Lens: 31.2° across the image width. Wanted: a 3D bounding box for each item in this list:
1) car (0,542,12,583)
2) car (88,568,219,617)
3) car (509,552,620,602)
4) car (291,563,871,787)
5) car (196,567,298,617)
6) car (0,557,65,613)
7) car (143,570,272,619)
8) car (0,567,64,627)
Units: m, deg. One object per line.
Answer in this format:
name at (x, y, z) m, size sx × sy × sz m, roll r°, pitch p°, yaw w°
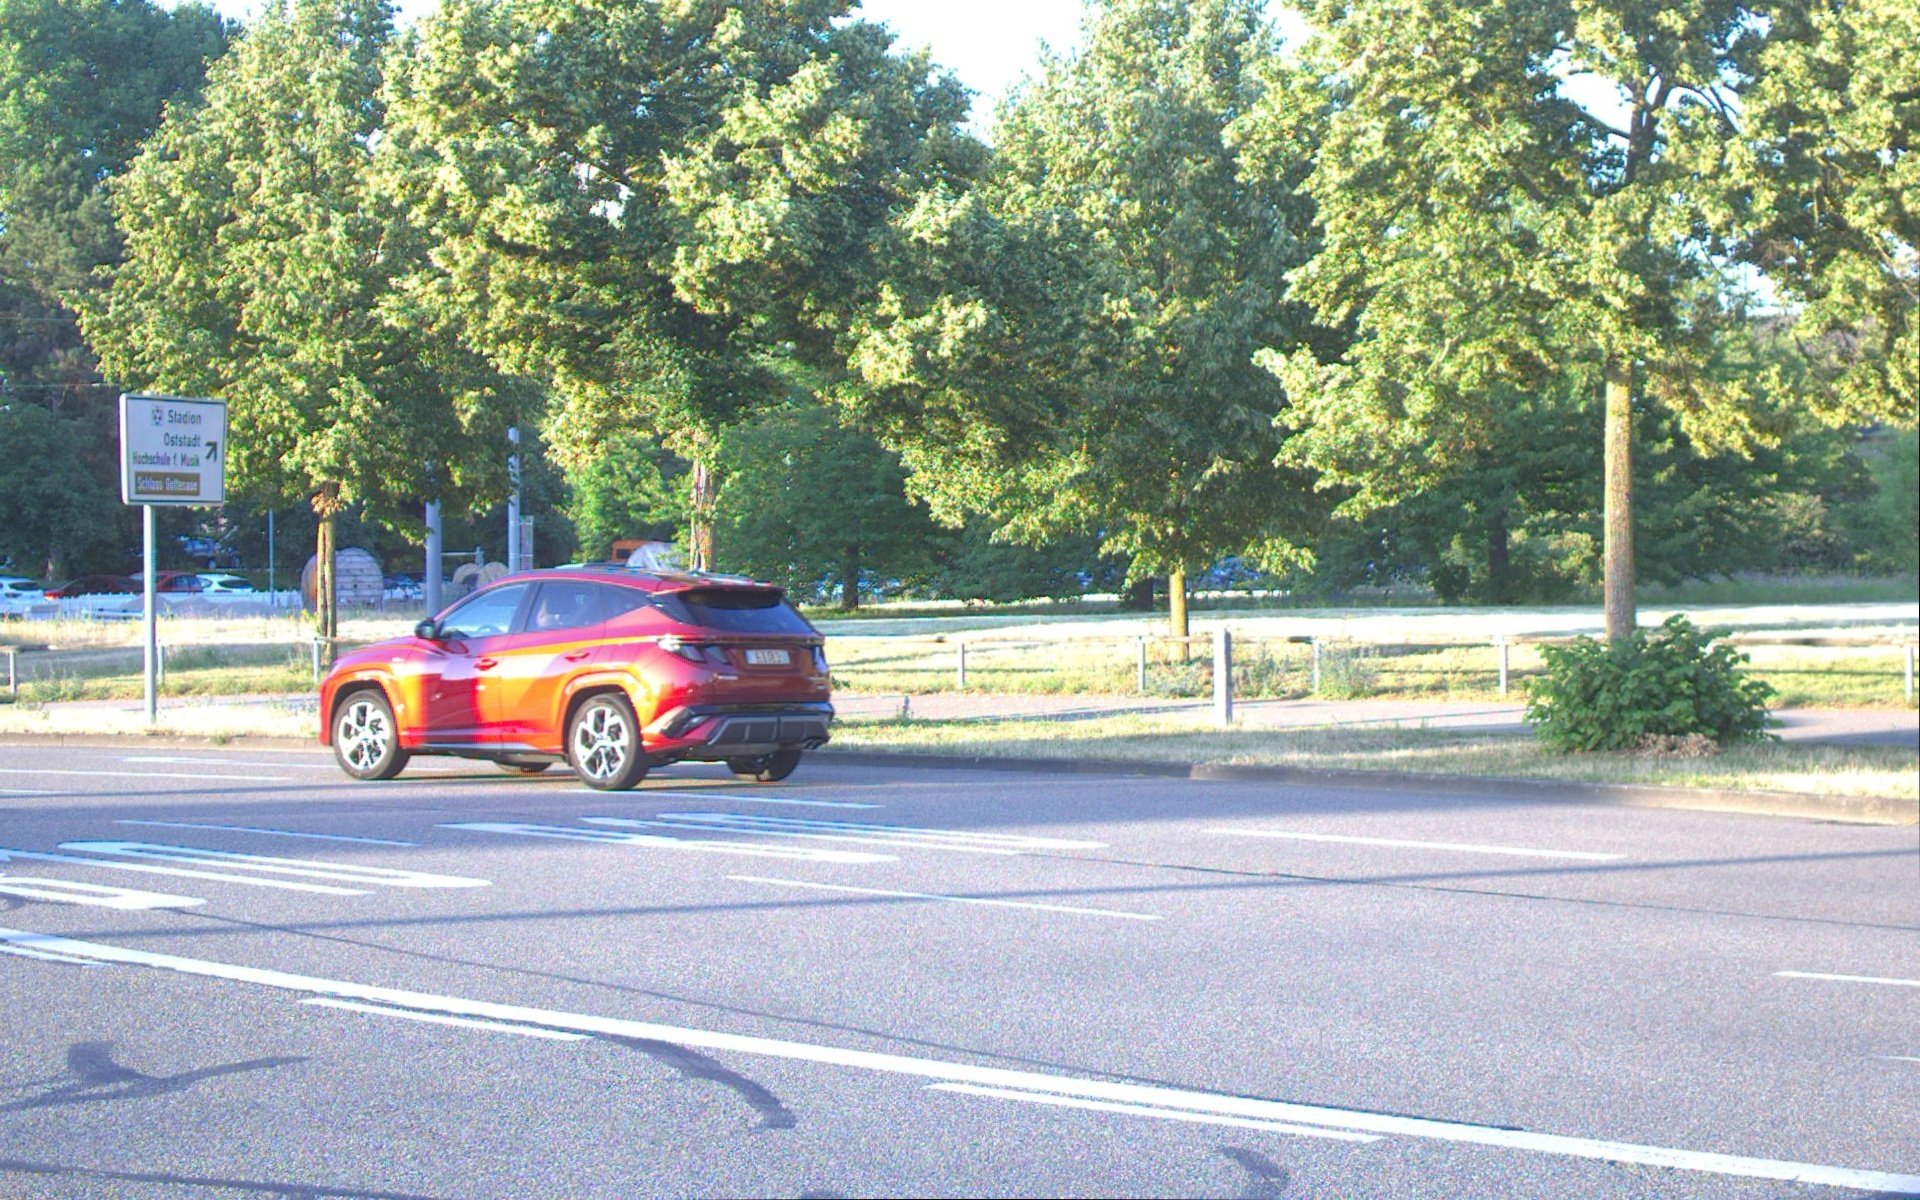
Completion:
car at (-42.414, -1.580, 145.371) m, size 3.988 × 1.700 × 2.000 m, roll 0°, pitch 1°, yaw 7°
car at (-26.777, -0.264, 114.101) m, size 3.994 × 1.598 × 1.996 m, roll 0°, pitch 1°, yaw 33°
car at (-13.231, -0.778, 114.890) m, size 1.734 × 1.612 × 3.998 m, roll -1°, pitch 1°, yaw -41°
car at (-2.989, 0.511, 26.547) m, size 4.412 × 1.568 × 1.995 m, roll 0°, pitch 1°, yaw 41°
car at (-26.821, -0.323, 129.310) m, size 1.994 × 1.746 × 4.597 m, roll -1°, pitch 2°, yaw -37°
car at (-35.235, -0.554, 125.814) m, size 4.582 × 2.007 × 2.001 m, roll -1°, pitch 1°, yaw -9°
car at (-25.373, -0.208, 115.831) m, size 3.994 × 1.598 × 1.996 m, roll 0°, pitch 1°, yaw 33°
car at (-33.150, -0.096, 117.681) m, size 4.582 × 2.007 × 2.001 m, roll -1°, pitch 1°, yaw -9°
